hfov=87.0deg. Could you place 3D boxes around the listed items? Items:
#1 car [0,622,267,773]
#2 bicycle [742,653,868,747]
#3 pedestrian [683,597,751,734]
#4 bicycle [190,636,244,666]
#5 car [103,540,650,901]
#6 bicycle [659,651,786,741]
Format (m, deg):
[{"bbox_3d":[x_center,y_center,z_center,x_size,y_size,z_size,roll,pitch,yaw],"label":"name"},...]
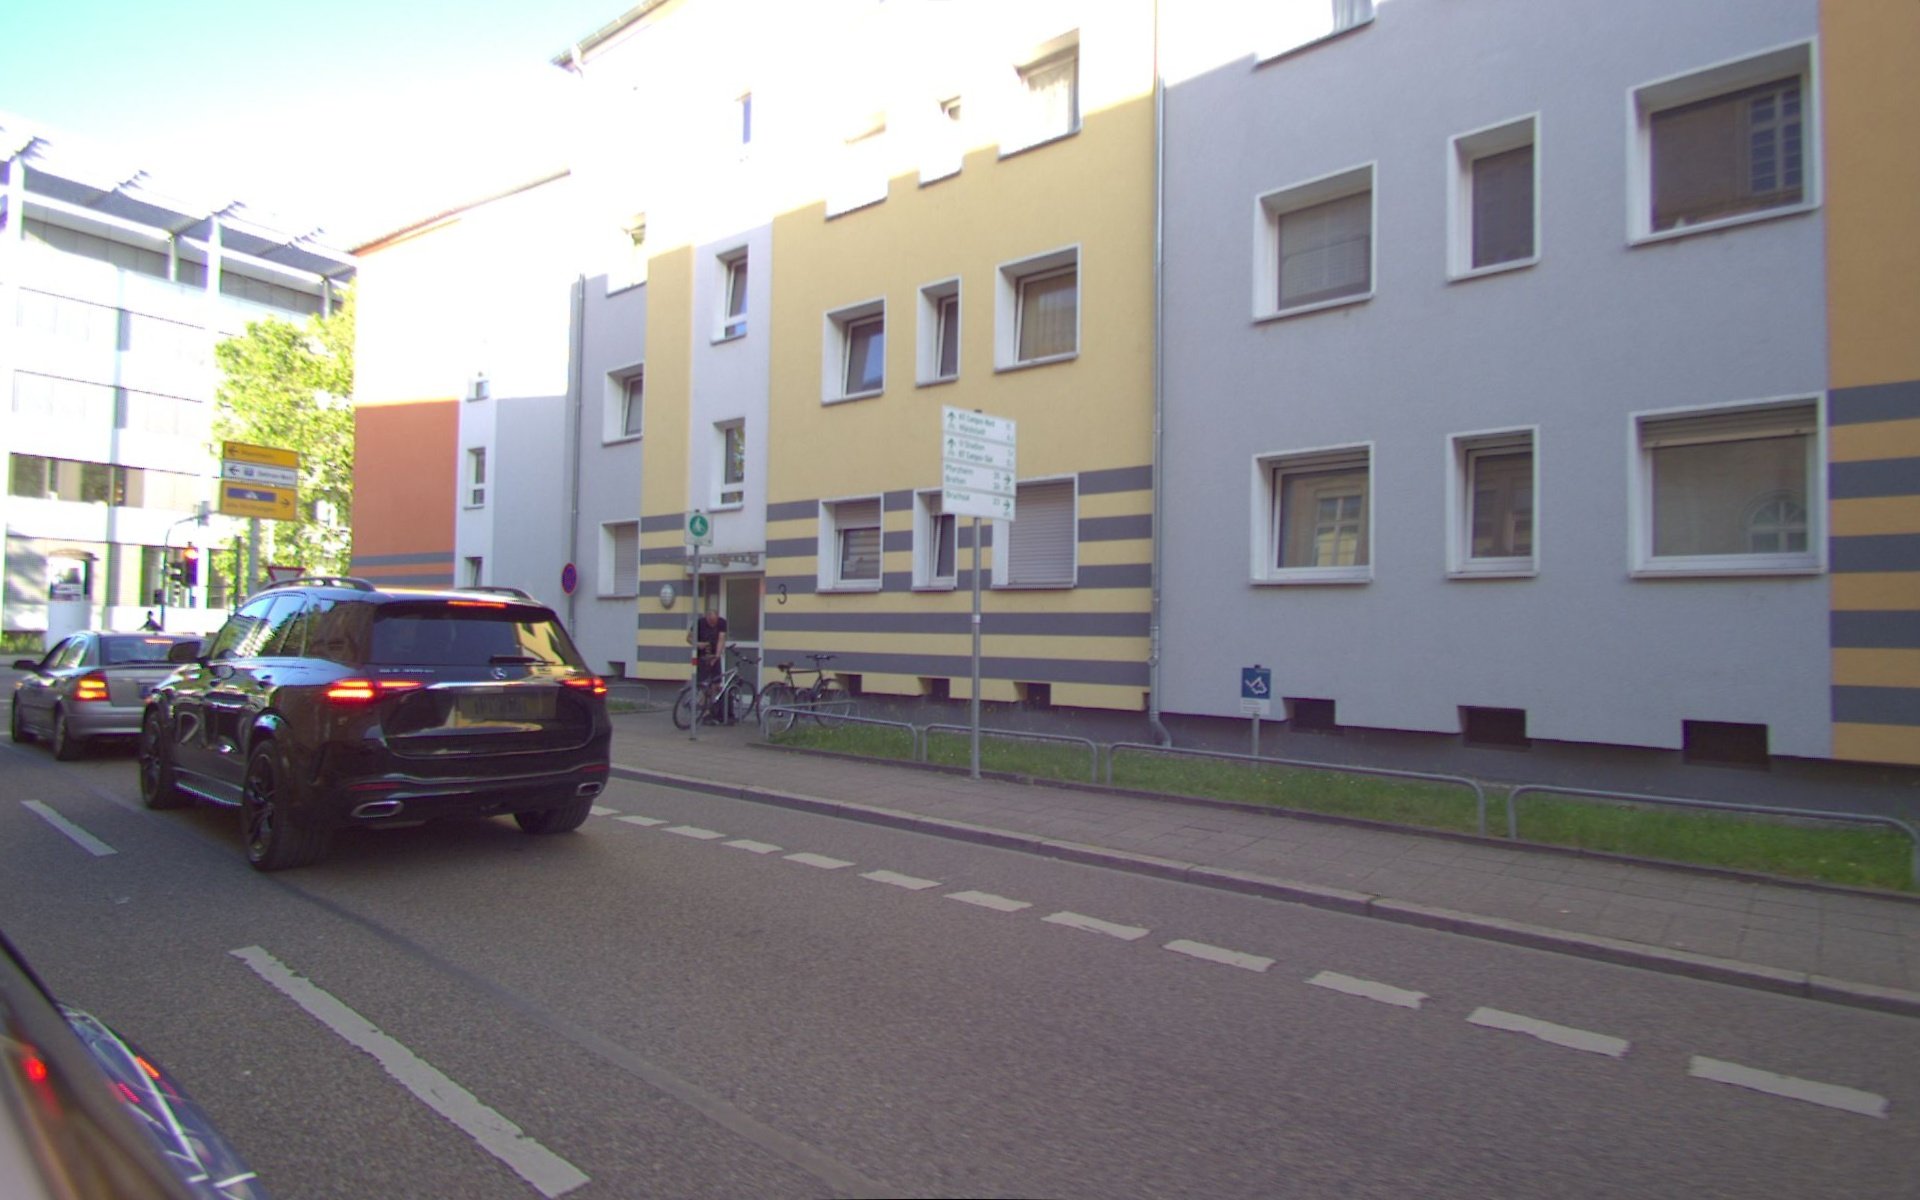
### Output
[{"bbox_3d":[-10.018,1.069,12.074,4.132,1.497,1.723,-1,-5,39],"label":"car"},{"bbox_3d":[-2.024,1.287,13.472,0.649,1.154,1.737,-1,-3,33],"label":"bicycle"},{"bbox_3d":[-3.475,0.921,14.451,0.709,1.869,0.872,2,-3,-27],"label":"pedestrian"},{"bbox_3d":[-31.181,2.136,42.480,1.967,1.191,0.470,1,-2,3],"label":"bicycle"},{"bbox_3d":[-4.619,0.717,7.596,5.091,1.849,1.880,-1,-5,41],"label":"car"},{"bbox_3d":[-3.280,1.299,14.118,0.649,1.154,1.737,-1,-3,33],"label":"bicycle"}]
